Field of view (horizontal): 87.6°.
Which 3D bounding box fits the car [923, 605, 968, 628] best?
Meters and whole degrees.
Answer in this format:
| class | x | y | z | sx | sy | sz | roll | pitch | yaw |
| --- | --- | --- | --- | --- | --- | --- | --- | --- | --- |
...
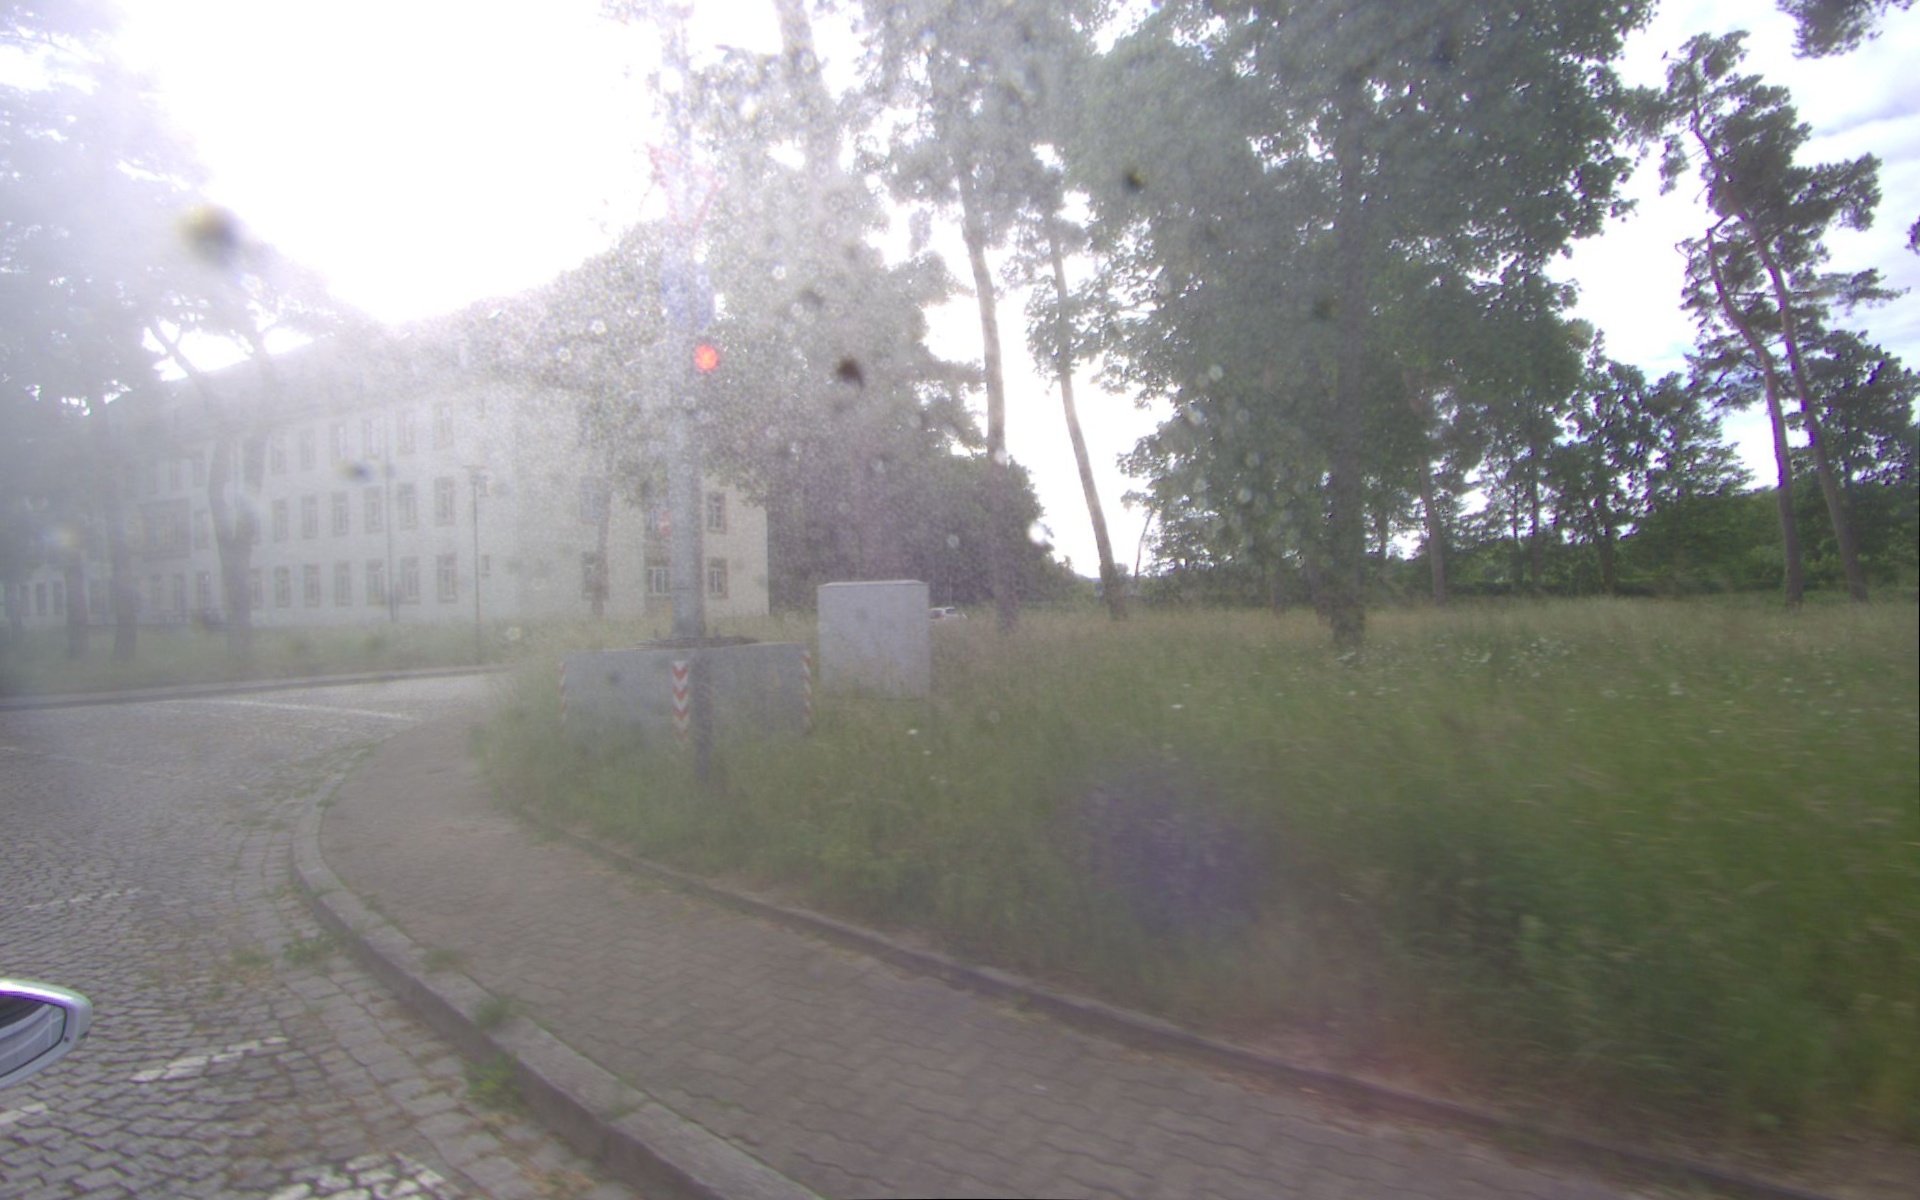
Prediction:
| class | x | y | z | sx | sy | sz | roll | pitch | yaw |
| --- | --- | --- | --- | --- | --- | --- | --- | --- | --- |
| car | -0.939 | 1.114 | 65.798 | 1.467 | 1.455 | 3.180 | -1 | -1 | 31 |
